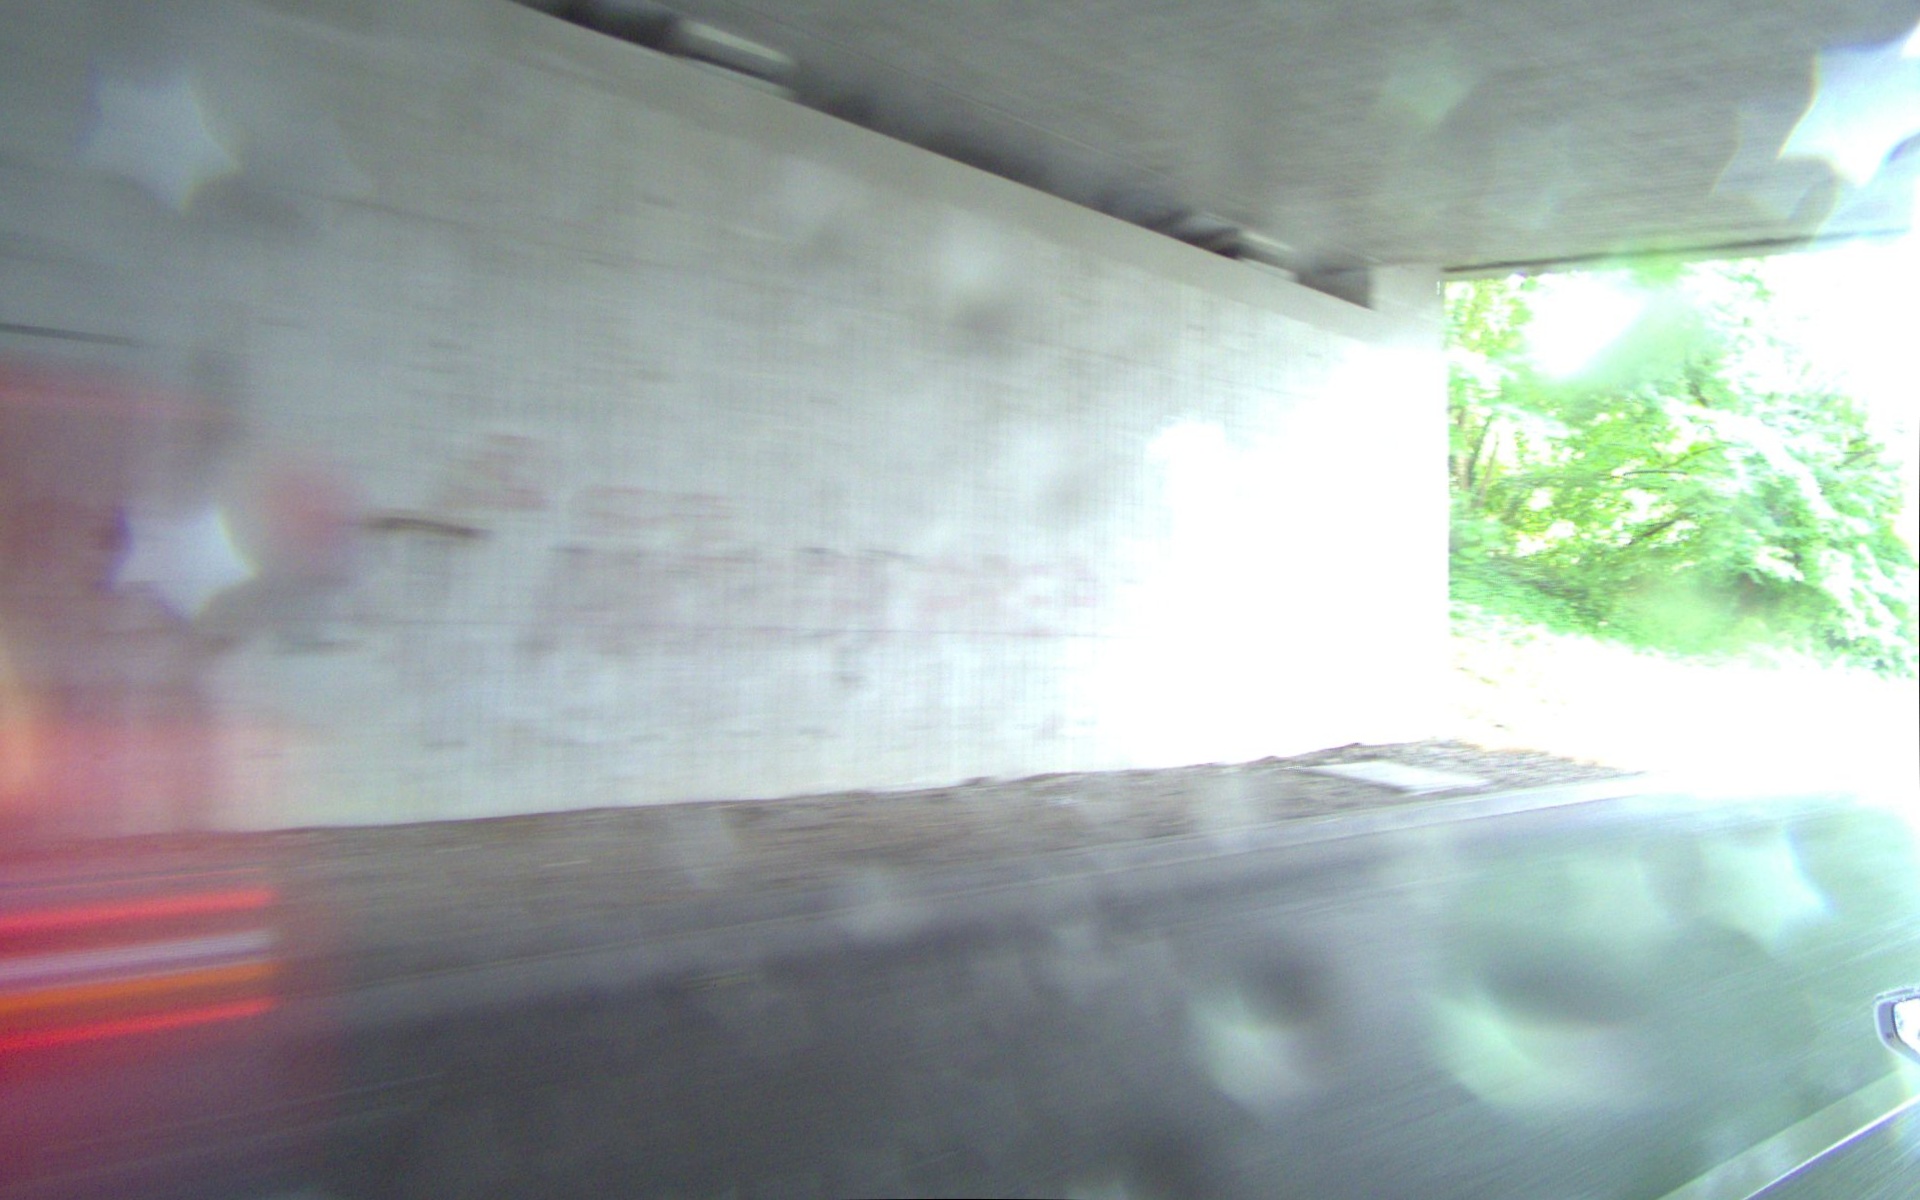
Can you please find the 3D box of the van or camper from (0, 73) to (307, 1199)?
[{"bbox_3d":[-3.590,0.317,1.117,4.636,2.126,1.984,1,0,-30],"label":"van or camper"}]
